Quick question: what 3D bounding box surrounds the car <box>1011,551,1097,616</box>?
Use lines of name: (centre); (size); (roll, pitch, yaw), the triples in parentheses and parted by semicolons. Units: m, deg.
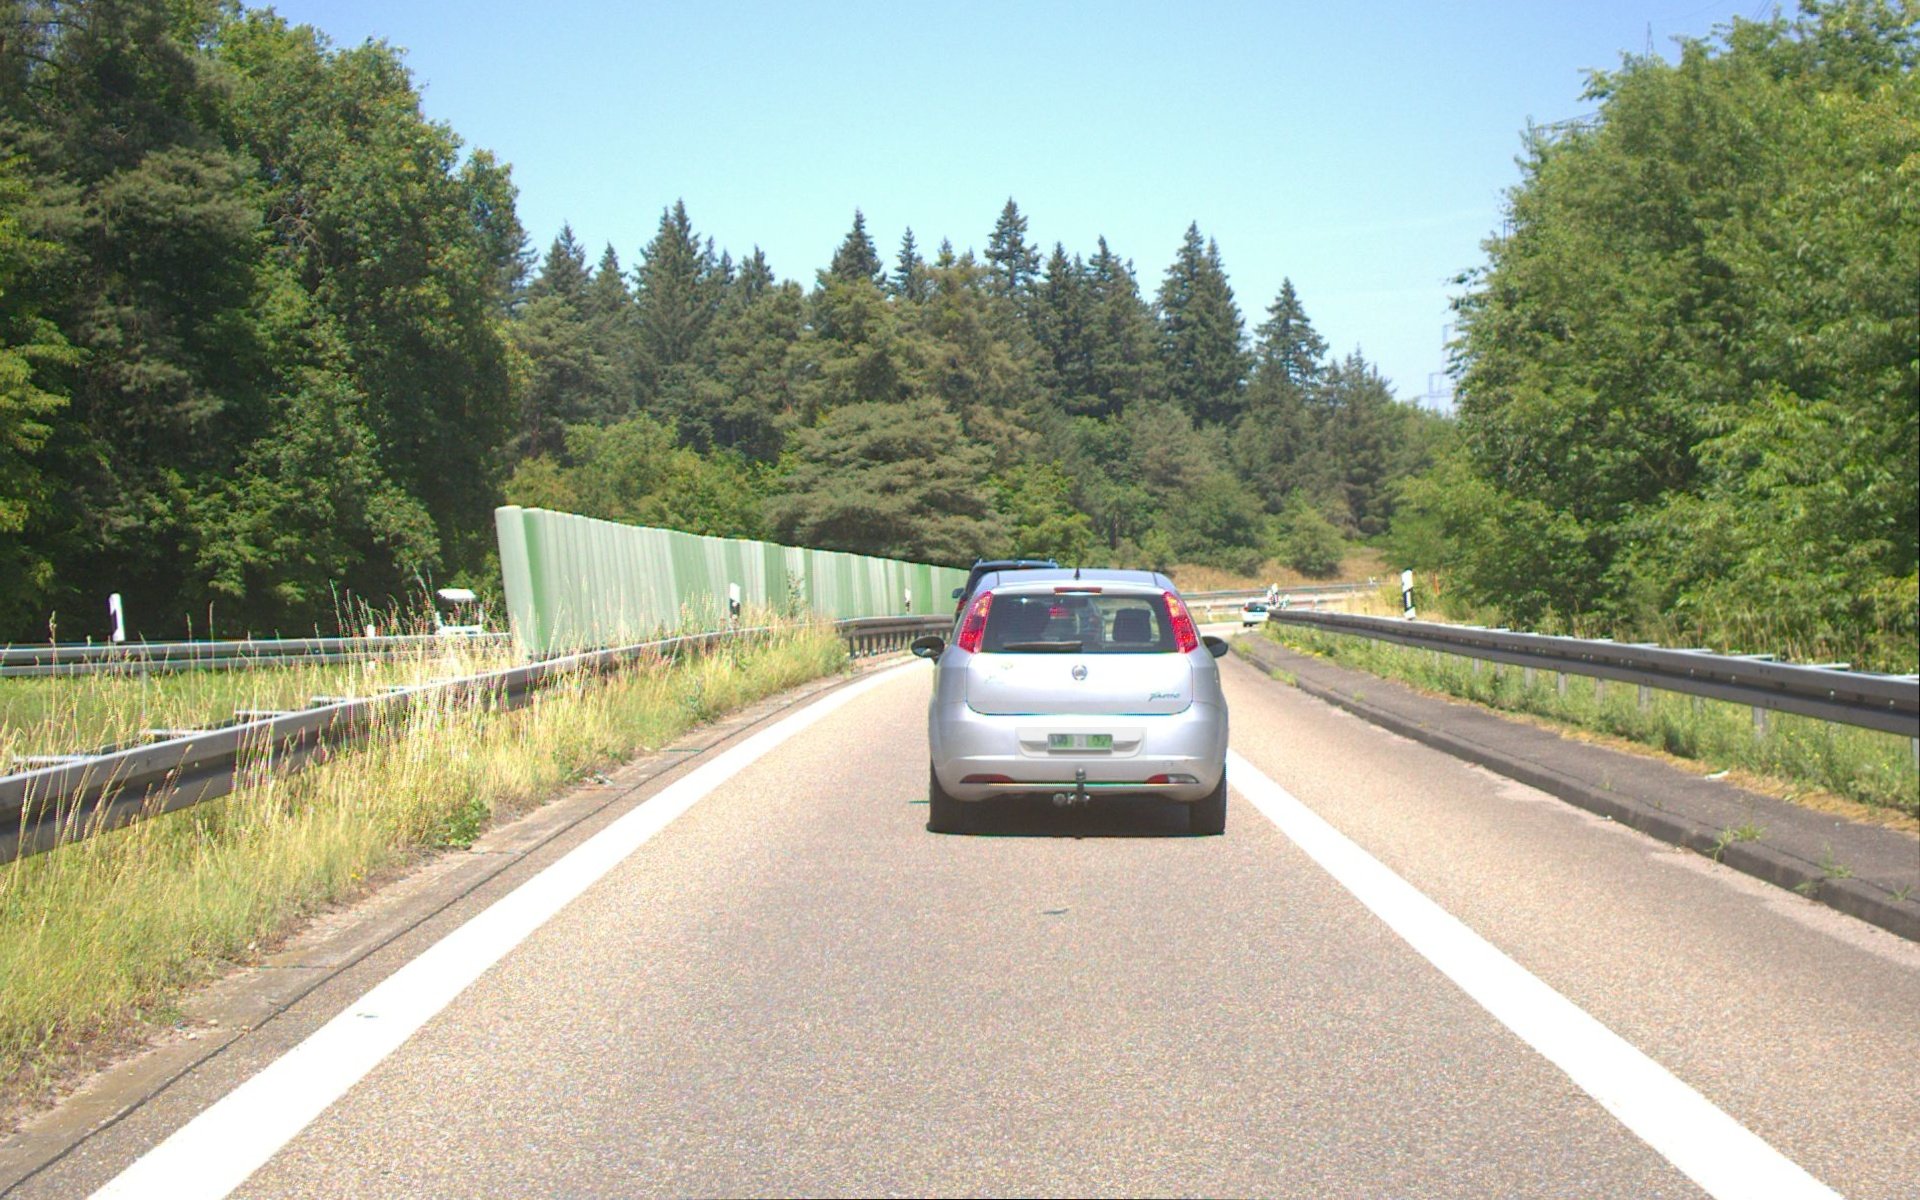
car: (2.123, -0.393, 78.172); (1.706, 1.443, 3.398); (0, 1, -3)

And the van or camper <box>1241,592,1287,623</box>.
van or camper: (15.383, 0.383, 173.859); (1.808, 1.481, 3.998); (0, 1, 13)

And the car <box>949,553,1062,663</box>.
car: (0.699, 0.102, 53.610); (1.706, 1.670, 3.398); (0, 1, 1)

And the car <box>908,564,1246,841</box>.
car: (0.603, 0.529, 20.115); (1.706, 1.477, 3.398); (0, 1, -3)
